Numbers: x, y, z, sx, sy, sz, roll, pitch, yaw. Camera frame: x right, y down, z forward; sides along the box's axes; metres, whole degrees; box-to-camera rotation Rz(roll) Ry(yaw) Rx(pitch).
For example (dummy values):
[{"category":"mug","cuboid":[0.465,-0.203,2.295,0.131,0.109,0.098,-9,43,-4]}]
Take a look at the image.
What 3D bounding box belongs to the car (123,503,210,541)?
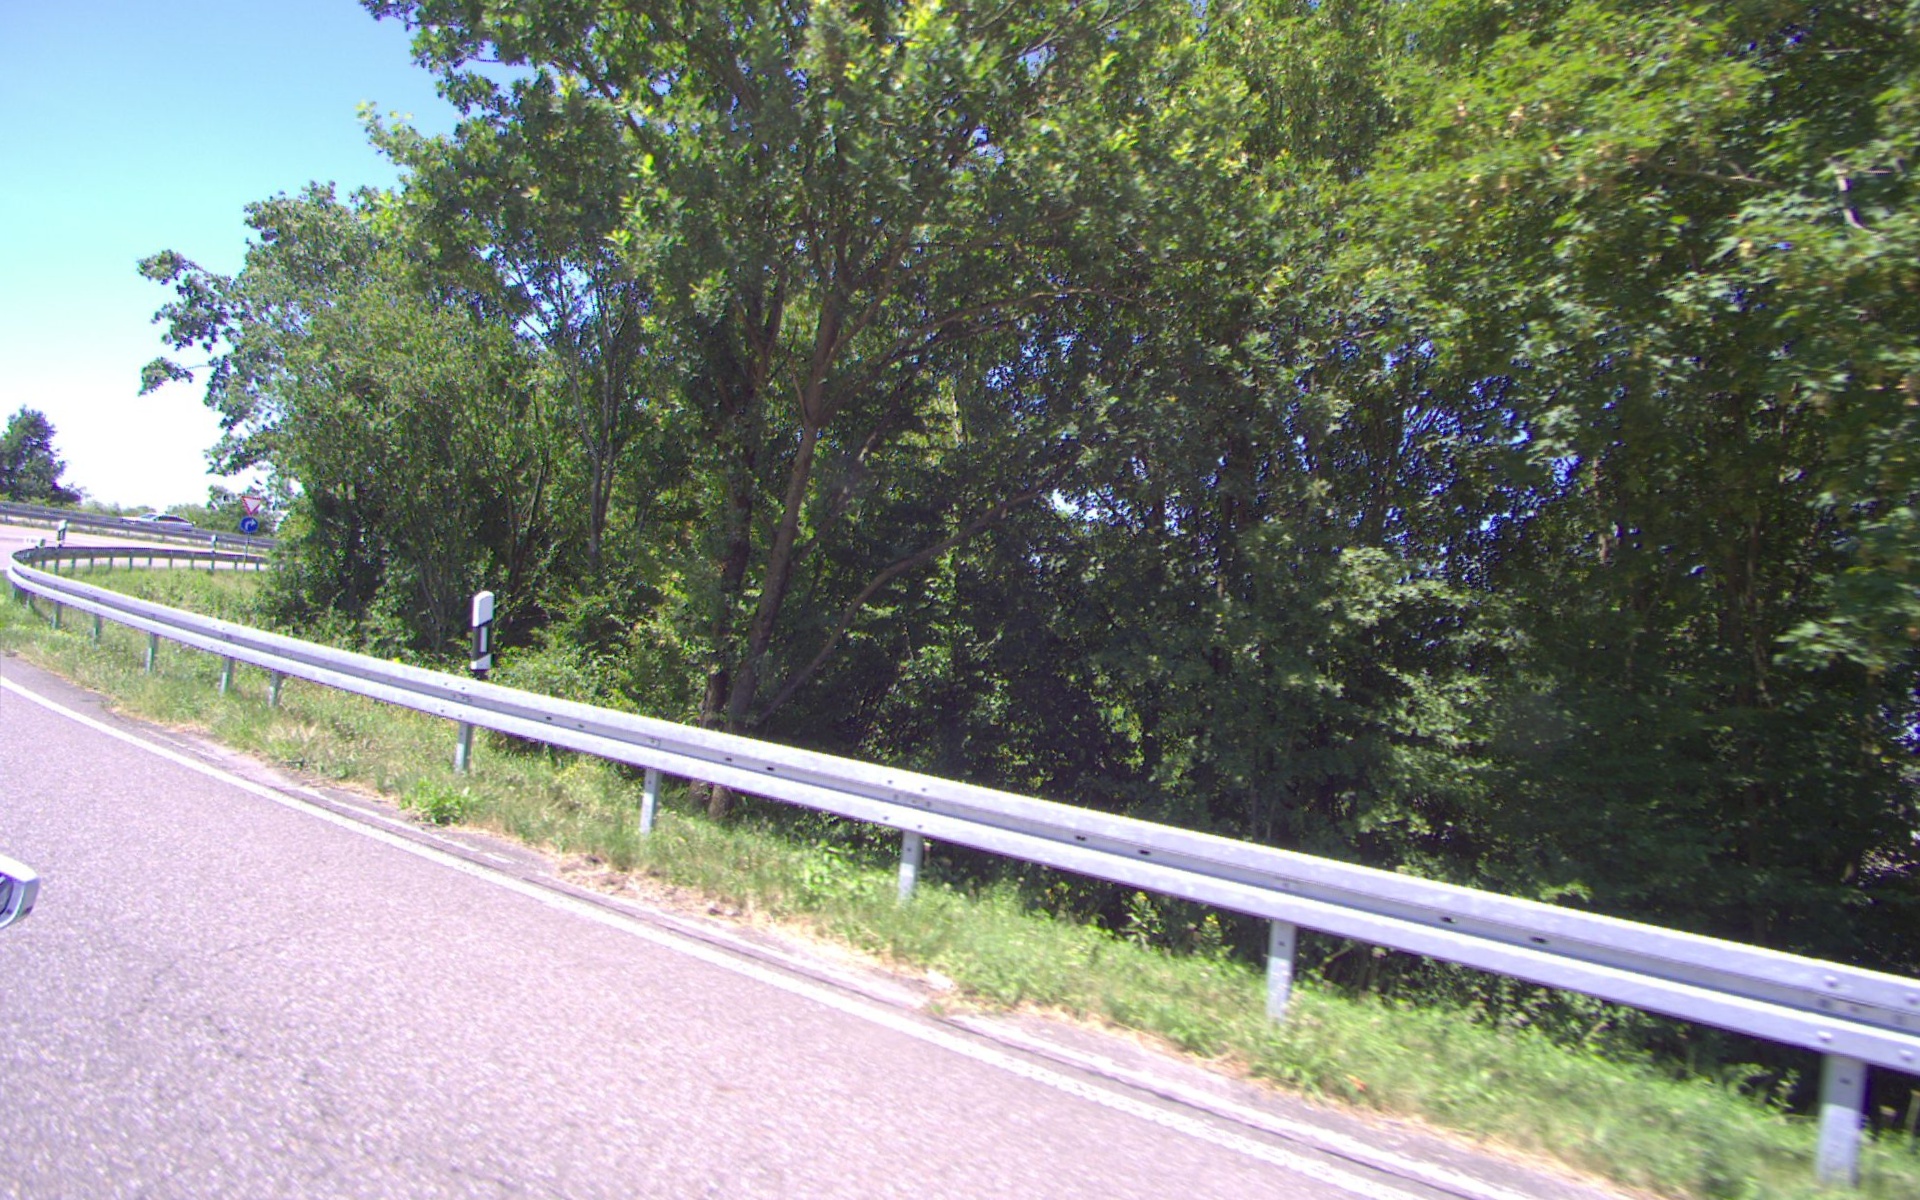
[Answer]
[{"category":"car","cuboid":[-54.646,-5.378,69.386,1.965,1.770,4.115,8,-2,27]}]
